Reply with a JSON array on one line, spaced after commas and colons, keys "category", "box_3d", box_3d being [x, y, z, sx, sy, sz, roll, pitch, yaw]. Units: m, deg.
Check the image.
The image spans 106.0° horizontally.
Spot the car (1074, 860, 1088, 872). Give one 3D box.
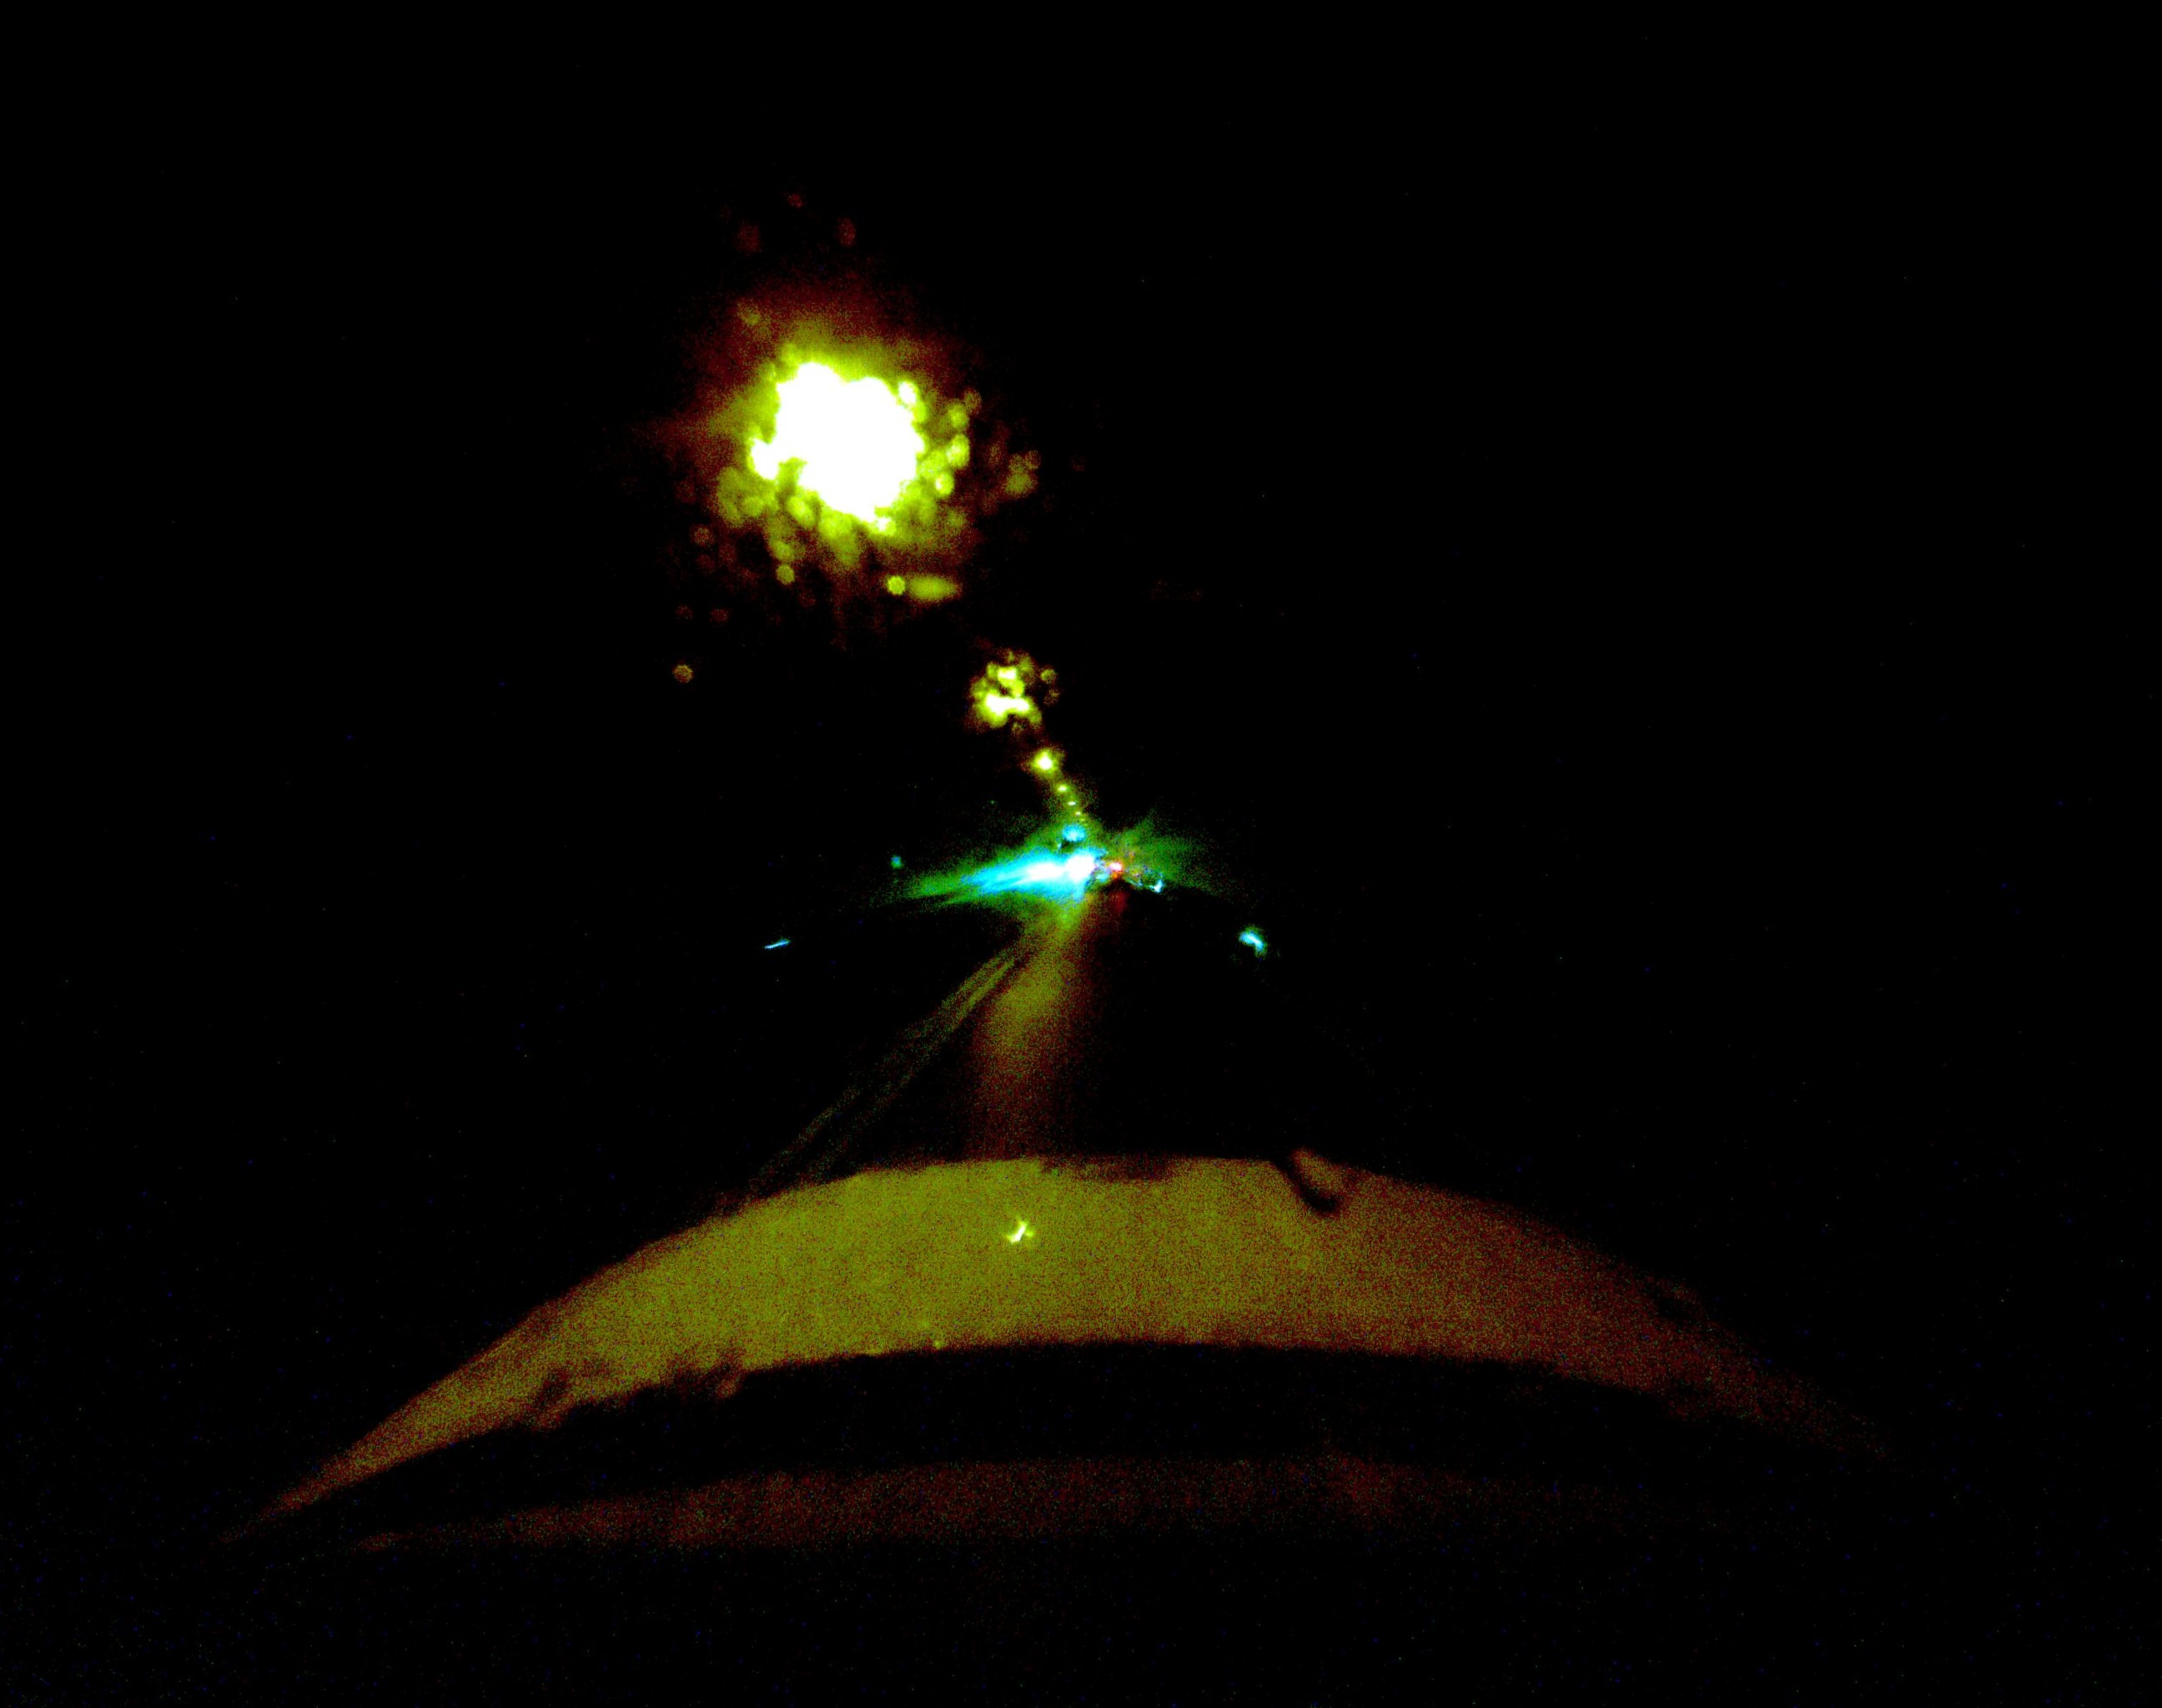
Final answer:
[{"category": "car", "box_3d": [0.041, 1.654, 110.009, 1.742, 1.584, 4.001, 0, -1, 2]}]

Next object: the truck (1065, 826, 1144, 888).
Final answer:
[{"category": "truck", "box_3d": [1.223, 0.162, 41.178, 3.521, 2.693, 8.960, -1, 0, 2]}]
